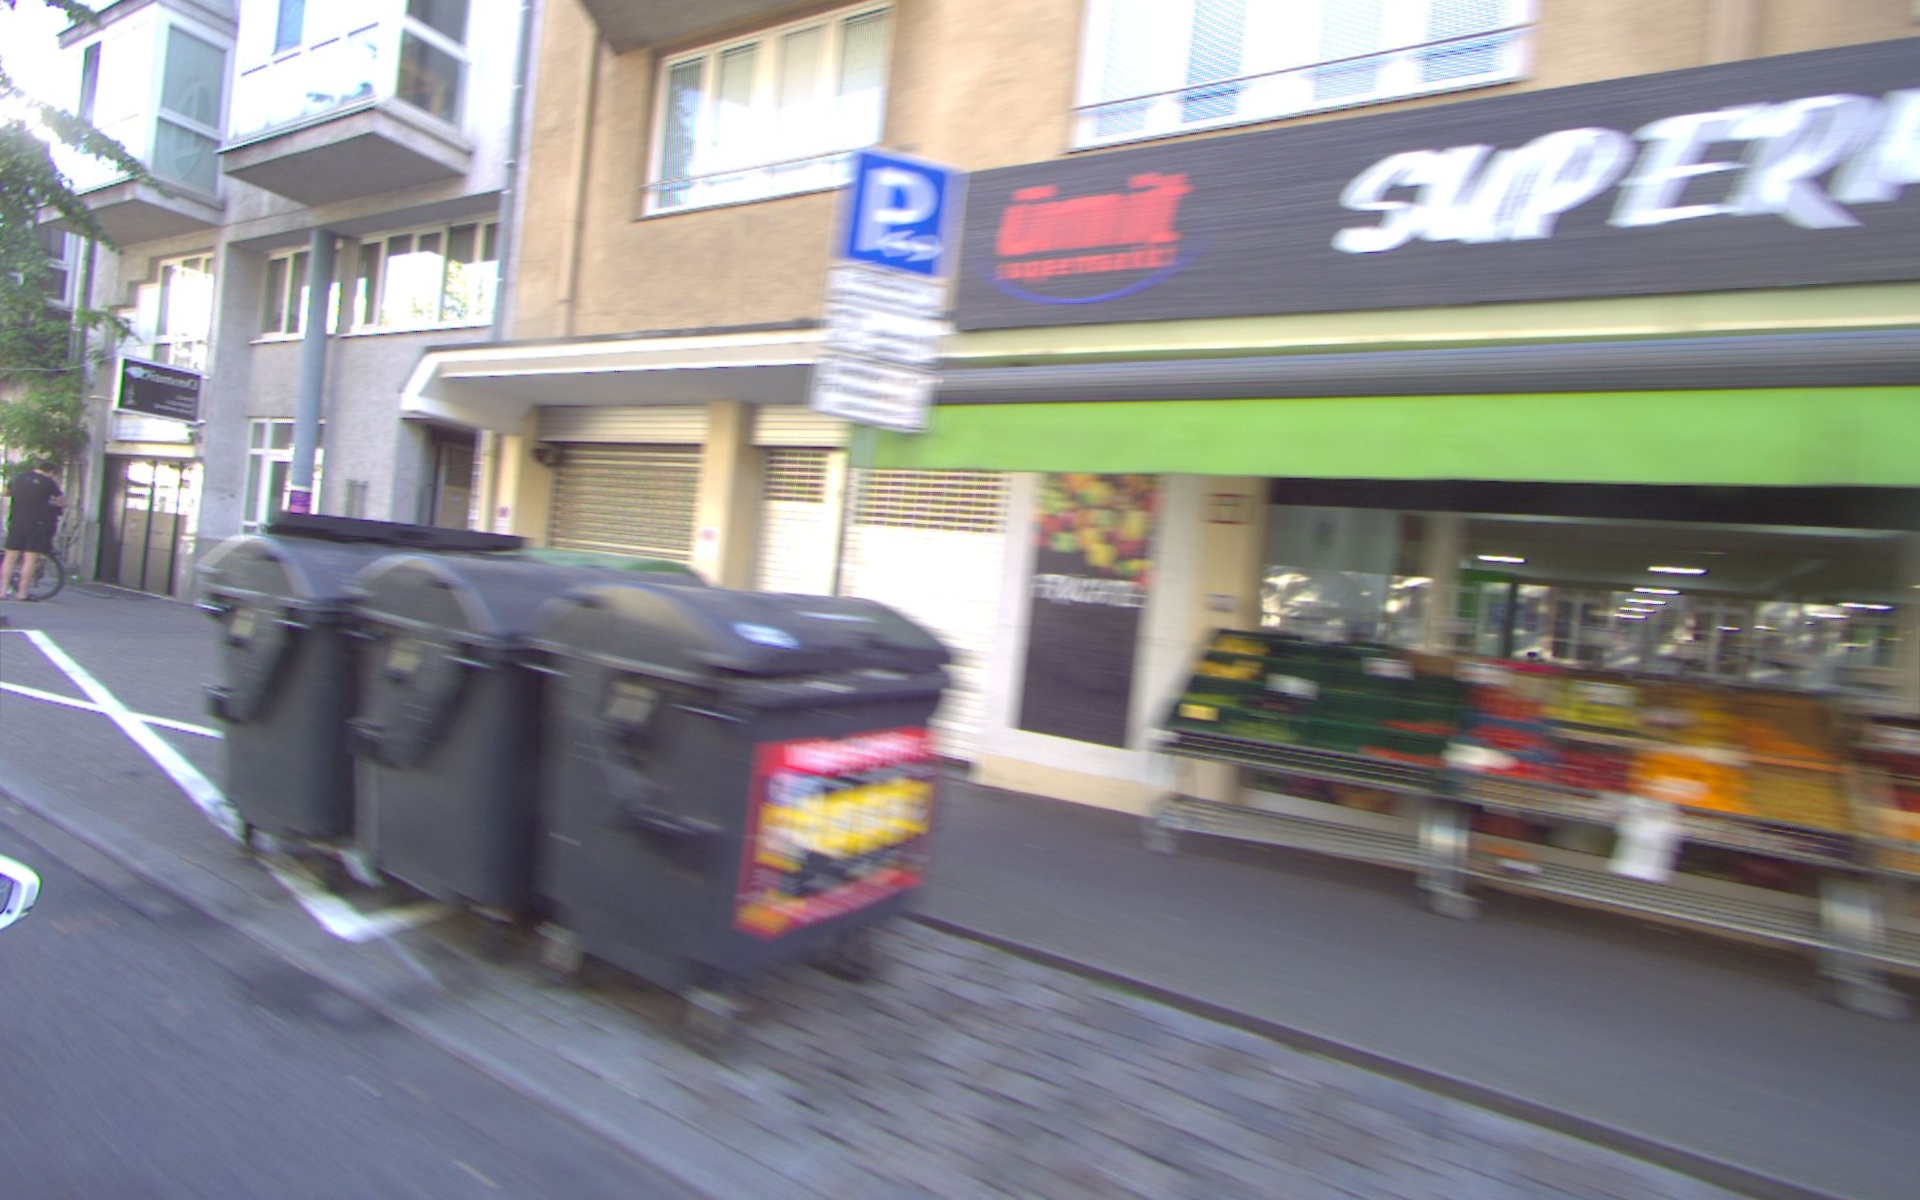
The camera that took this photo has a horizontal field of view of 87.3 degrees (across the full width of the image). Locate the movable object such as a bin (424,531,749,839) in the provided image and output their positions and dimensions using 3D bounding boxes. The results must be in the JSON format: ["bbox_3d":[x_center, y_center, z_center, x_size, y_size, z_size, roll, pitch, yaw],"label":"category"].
[{"bbox_3d":[-2.118,0.431,5.751,1.274,1.449,1.078,7,1,32],"label":"movable object such as a bin"}]

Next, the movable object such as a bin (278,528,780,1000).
[{"bbox_3d":[-1.705,0.554,4.143,1.127,1.472,1.400,7,1,32],"label":"movable object such as a bin"}]

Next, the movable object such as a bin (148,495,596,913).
[{"bbox_3d":[-2.693,0.409,4.705,1.127,1.562,1.331,7,1,32],"label":"movable object such as a bin"}]

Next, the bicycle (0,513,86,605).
[{"bbox_3d":[-13.218,-0.613,13.809,1.657,1.163,0.680,6,1,-11],"label":"bicycle"}]

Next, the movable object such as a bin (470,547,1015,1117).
[{"bbox_3d":[-0.702,0.655,3.599,1.127,1.472,1.400,7,1,32],"label":"movable object such as a bin"}]

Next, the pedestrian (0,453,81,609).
[{"bbox_3d":[-12.523,-0.921,13.458,0.919,1.960,0.754,6,1,-33],"label":"pedestrian"}]
